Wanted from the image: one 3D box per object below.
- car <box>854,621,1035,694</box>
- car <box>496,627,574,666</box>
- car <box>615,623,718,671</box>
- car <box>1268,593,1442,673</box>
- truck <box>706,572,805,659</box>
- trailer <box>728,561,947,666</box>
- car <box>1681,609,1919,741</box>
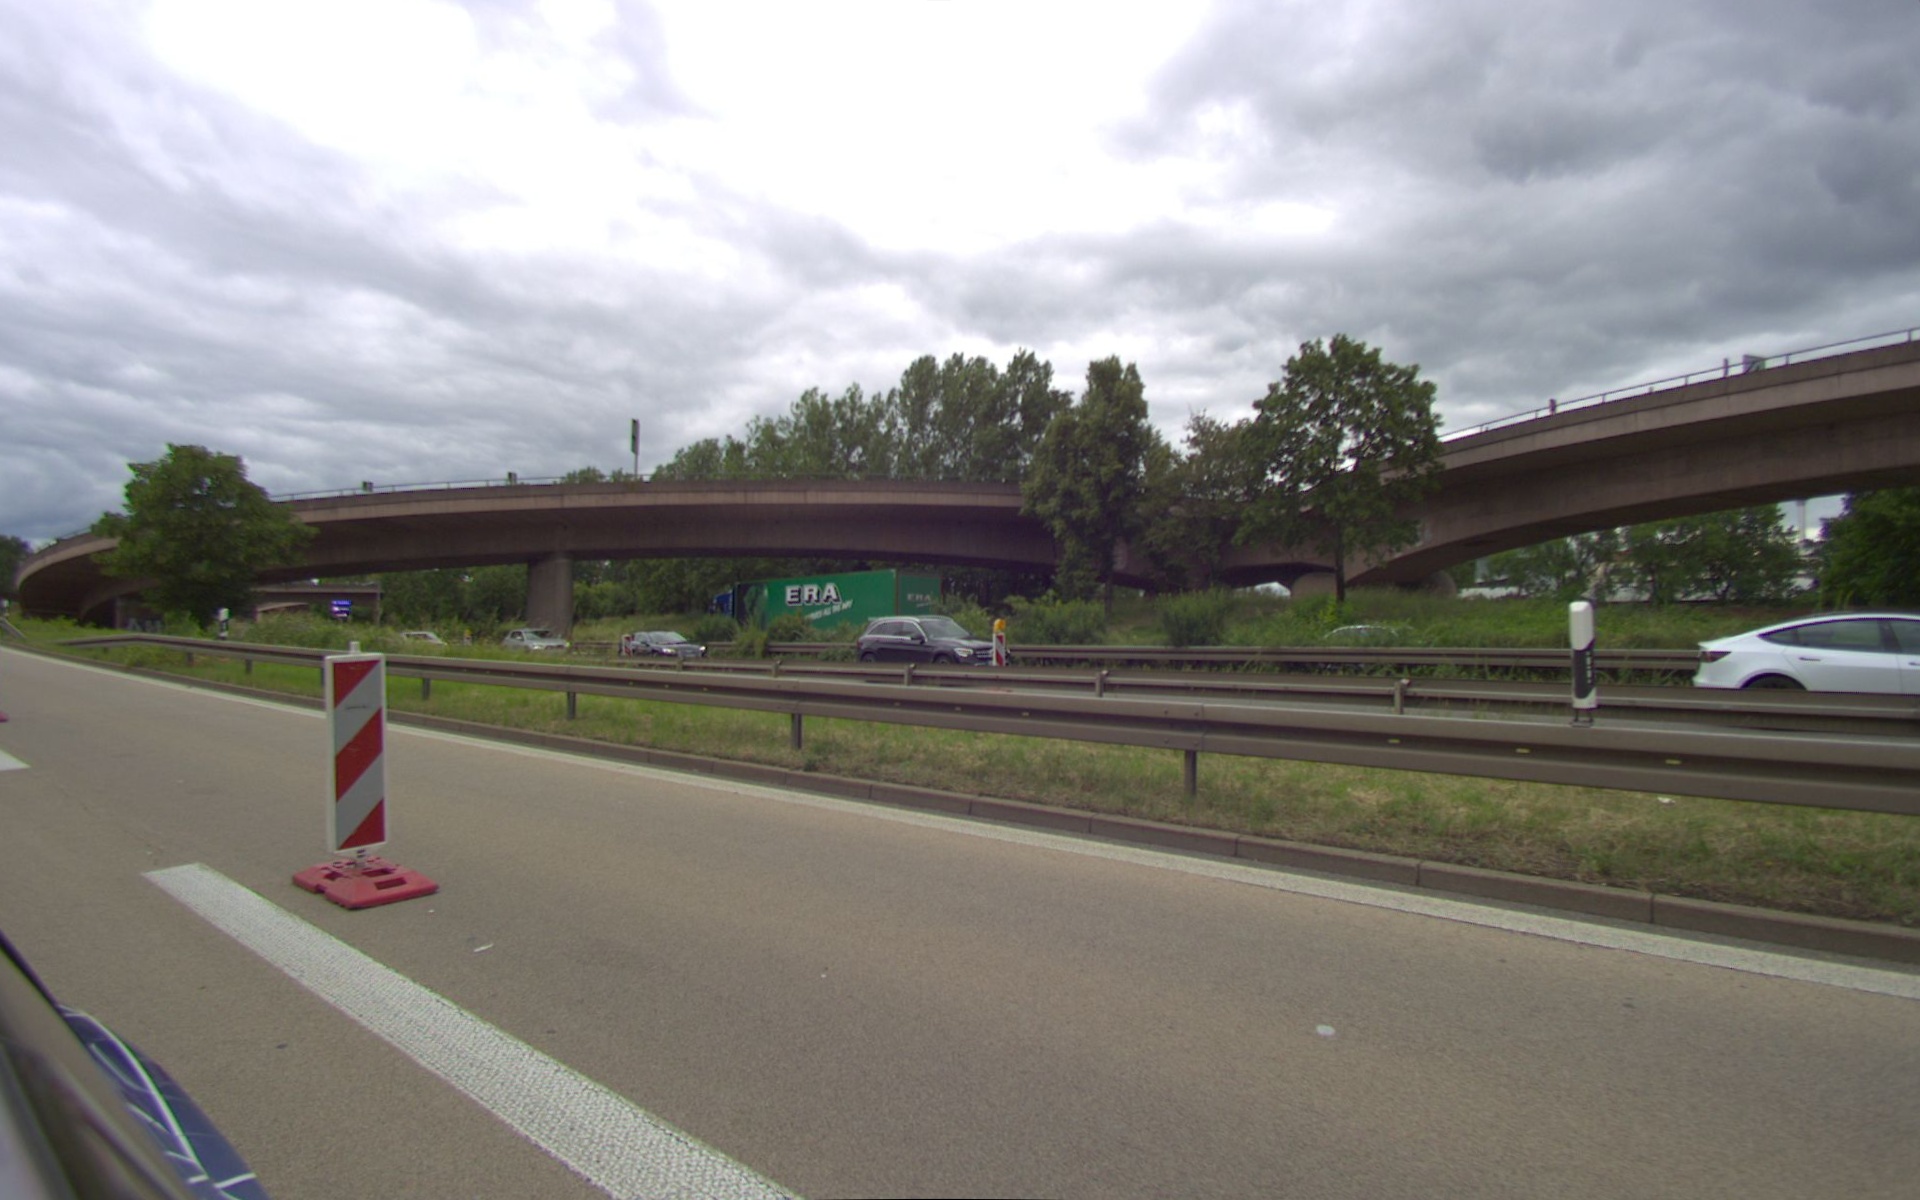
[{"bbox_3d":[-0.488,1.353,25.174,2.012,1.627,4.584,1,-2,-41],"label":"car"},{"bbox_3d":[-19.299,2.060,45.865,2.012,1.627,4.300,1,-2,-41],"label":"car"},{"bbox_3d":[-10.881,1.679,37.344,2.012,1.627,4.300,1,-2,-41],"label":"car"},{"bbox_3d":[10.822,0.887,27.926,1.968,2.029,4.008,0,-2,-38],"label":"car"},{"bbox_3d":[-10.749,0.846,52.887,2.719,4.304,5.510,1,-2,-42],"label":"truck"},{"bbox_3d":[-6.278,0.720,47.945,2.738,4.327,13.995,1,-2,-42],"label":"trailer"},{"bbox_3d":[11.589,0.841,11.834,1.969,1.466,4.808,1,-2,-41],"label":"car"}]
